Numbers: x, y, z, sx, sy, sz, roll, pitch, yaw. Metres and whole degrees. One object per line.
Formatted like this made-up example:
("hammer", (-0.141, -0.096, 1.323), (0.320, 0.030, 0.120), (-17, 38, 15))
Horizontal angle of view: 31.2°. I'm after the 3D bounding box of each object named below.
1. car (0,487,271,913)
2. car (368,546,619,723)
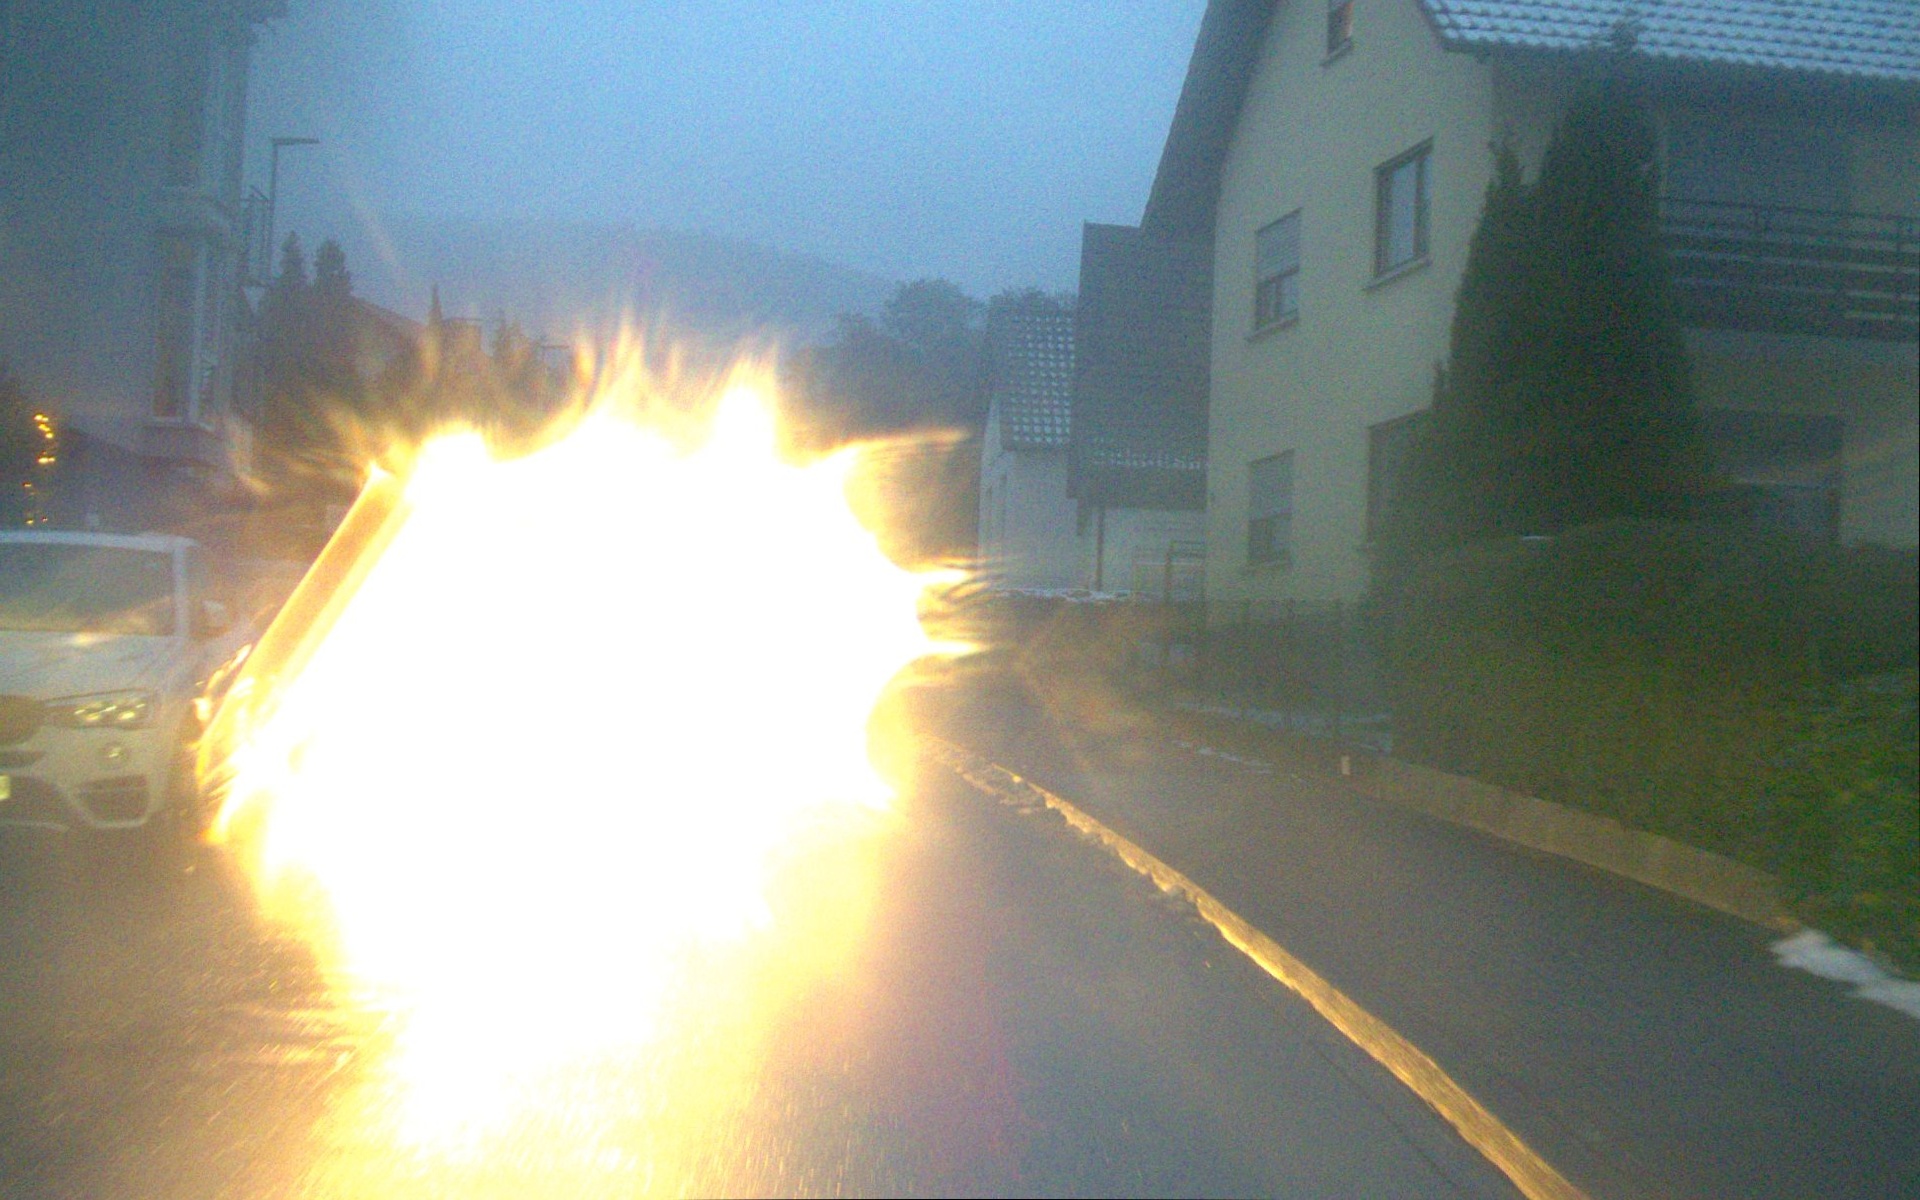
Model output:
("car", (-4.486, 0.395, 16.459), (1.993, 1.794, 4.001), (1, 1, -7))
("car", (-4.642, 0.360, 34.748), (1.993, 1.644, 4.000), (1, -1, -1))
